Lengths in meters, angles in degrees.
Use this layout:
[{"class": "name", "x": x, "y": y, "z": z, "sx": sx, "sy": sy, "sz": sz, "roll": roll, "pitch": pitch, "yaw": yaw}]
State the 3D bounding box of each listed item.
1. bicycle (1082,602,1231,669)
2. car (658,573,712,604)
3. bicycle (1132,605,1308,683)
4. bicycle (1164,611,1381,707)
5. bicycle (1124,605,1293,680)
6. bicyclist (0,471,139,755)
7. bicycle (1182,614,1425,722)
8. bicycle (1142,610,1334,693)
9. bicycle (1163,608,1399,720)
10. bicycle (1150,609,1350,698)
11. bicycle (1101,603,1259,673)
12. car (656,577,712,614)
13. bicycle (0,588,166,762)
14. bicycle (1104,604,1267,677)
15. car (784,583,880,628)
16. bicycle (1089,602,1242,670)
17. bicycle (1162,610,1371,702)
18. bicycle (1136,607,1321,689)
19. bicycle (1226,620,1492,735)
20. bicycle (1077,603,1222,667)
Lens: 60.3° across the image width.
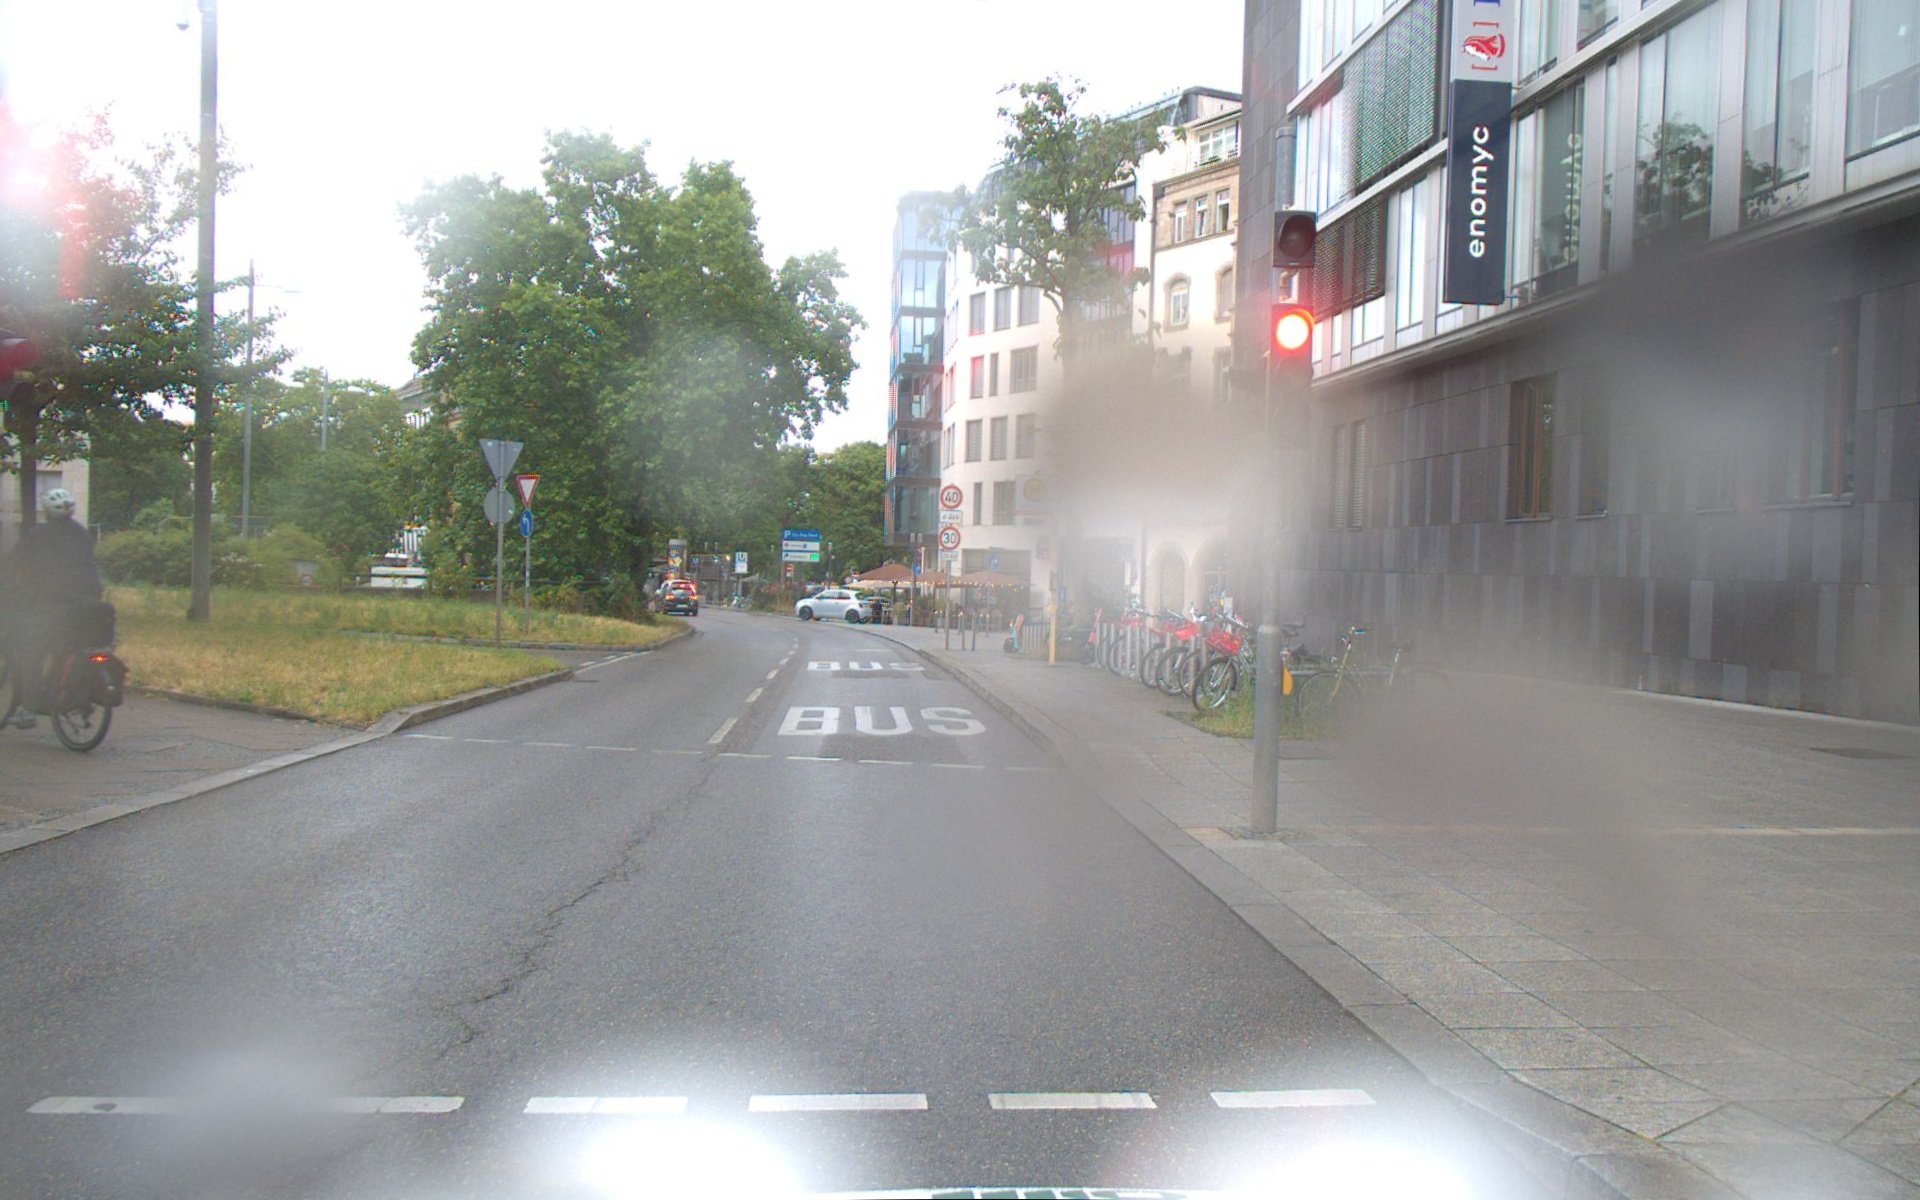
[{"class": "bicycle", "x": 3.421, "y": 0.614, "z": 28.843, "sx": 2.486, "sy": 1.106, "sz": 0.677, "roll": 1, "pitch": 0, "yaw": -6}, {"class": "car", "x": -16.628, "y": -0.722, "z": 99.877, "sx": 2.153, "sy": 1.730, "sz": 3.965, "roll": 2, "pitch": 0, "yaw": -27}, {"class": "bicycle", "x": 3.864, "y": 0.655, "z": 24.643, "sx": 2.486, "sy": 1.106, "sz": 0.677, "roll": 1, "pitch": 0, "yaw": -6}, {"class": "bicycle", "x": 3.767, "y": 0.703, "z": 20.004, "sx": 2.486, "sy": 1.106, "sz": 0.677, "roll": 1, "pitch": 0, "yaw": -6}, {"class": "bicycle", "x": 3.838, "y": 0.650, "z": 25.621, "sx": 2.486, "sy": 1.106, "sz": 0.677, "roll": 1, "pitch": 0, "yaw": -6}, {"class": "bicyclist", "x": -7.240, "y": 0.073, "z": 13.049, "sx": 1.060, "sy": 2.118, "sz": 0.763, "roll": 4, "pitch": 1, "yaw": 23}, {"class": "bicycle", "x": 3.717, "y": 0.734, "z": 17.975, "sx": 2.487, "sy": 1.106, "sz": 0.677, "roll": 1, "pitch": 0, "yaw": -6}, {"class": "bicycle", "x": 3.776, "y": 0.692, "z": 22.536, "sx": 2.486, "sy": 1.078, "sz": 0.677, "roll": 1, "pitch": 0, "yaw": -6}, {"class": "bicycle", "x": 3.629, "y": 0.722, "z": 18.777, "sx": 2.487, "sy": 1.106, "sz": 0.677, "roll": 3, "pitch": 0, "yaw": -6}, {"class": "bicycle", "x": 3.784, "y": 0.693, "z": 21.670, "sx": 2.486, "sy": 1.106, "sz": 0.677, "roll": 1, "pitch": 0, "yaw": -6}, {"class": "bicycle", "x": 3.614, "y": 0.622, "z": 27.209, "sx": 2.486, "sy": 1.106, "sz": 0.677, "roll": 1, "pitch": 0, "yaw": -6}, {"class": "car", "x": -13.923, "y": -0.223, "z": 83.218, "sx": 2.128, "sy": 1.735, "sz": 4.532, "roll": 2, "pitch": 0, "yaw": -17}, {"class": "bicycle", "x": -7.398, "y": 0.549, "z": 13.113, "sx": 2.084, "sy": 1.165, "sz": 0.763, "roll": 5, "pitch": 1, "yaw": 24}, {"class": "bicycle", "x": 3.591, "y": 0.641, "z": 26.457, "sx": 2.486, "sy": 1.106, "sz": 0.677, "roll": 1, "pitch": 0, "yaw": -6}, {"class": "car", "x": -5.937, "y": 0.248, "z": 76.901, "sx": 3.904, "sy": 1.675, "sz": 2.002, "roll": 6, "pitch": 0, "yaw": 11}, {"class": "bicycle", "x": 3.479, "y": 0.605, "z": 28.096, "sx": 2.486, "sy": 1.106, "sz": 0.677, "roll": 1, "pitch": 0, "yaw": -6}, {"class": "bicycle", "x": 3.852, "y": 0.701, "z": 20.861, "sx": 2.486, "sy": 1.106, "sz": 0.677, "roll": 1, "pitch": 0, "yaw": -6}, {"class": "bicycle", "x": 3.792, "y": 0.673, "z": 23.446, "sx": 2.486, "sy": 1.106, "sz": 0.677, "roll": 1, "pitch": 0, "yaw": -6}, {"class": "bicycle", "x": 3.962, "y": 0.765, "z": 16.501, "sx": 2.487, "sy": 1.075, "sz": 0.677, "roll": 1, "pitch": 0, "yaw": -6}, {"class": "bicycle", "x": 3.375, "y": 0.620, "z": 29.564, "sx": 2.486, "sy": 1.106, "sz": 0.627, "roll": 1, "pitch": 0, "yaw": -6}]
